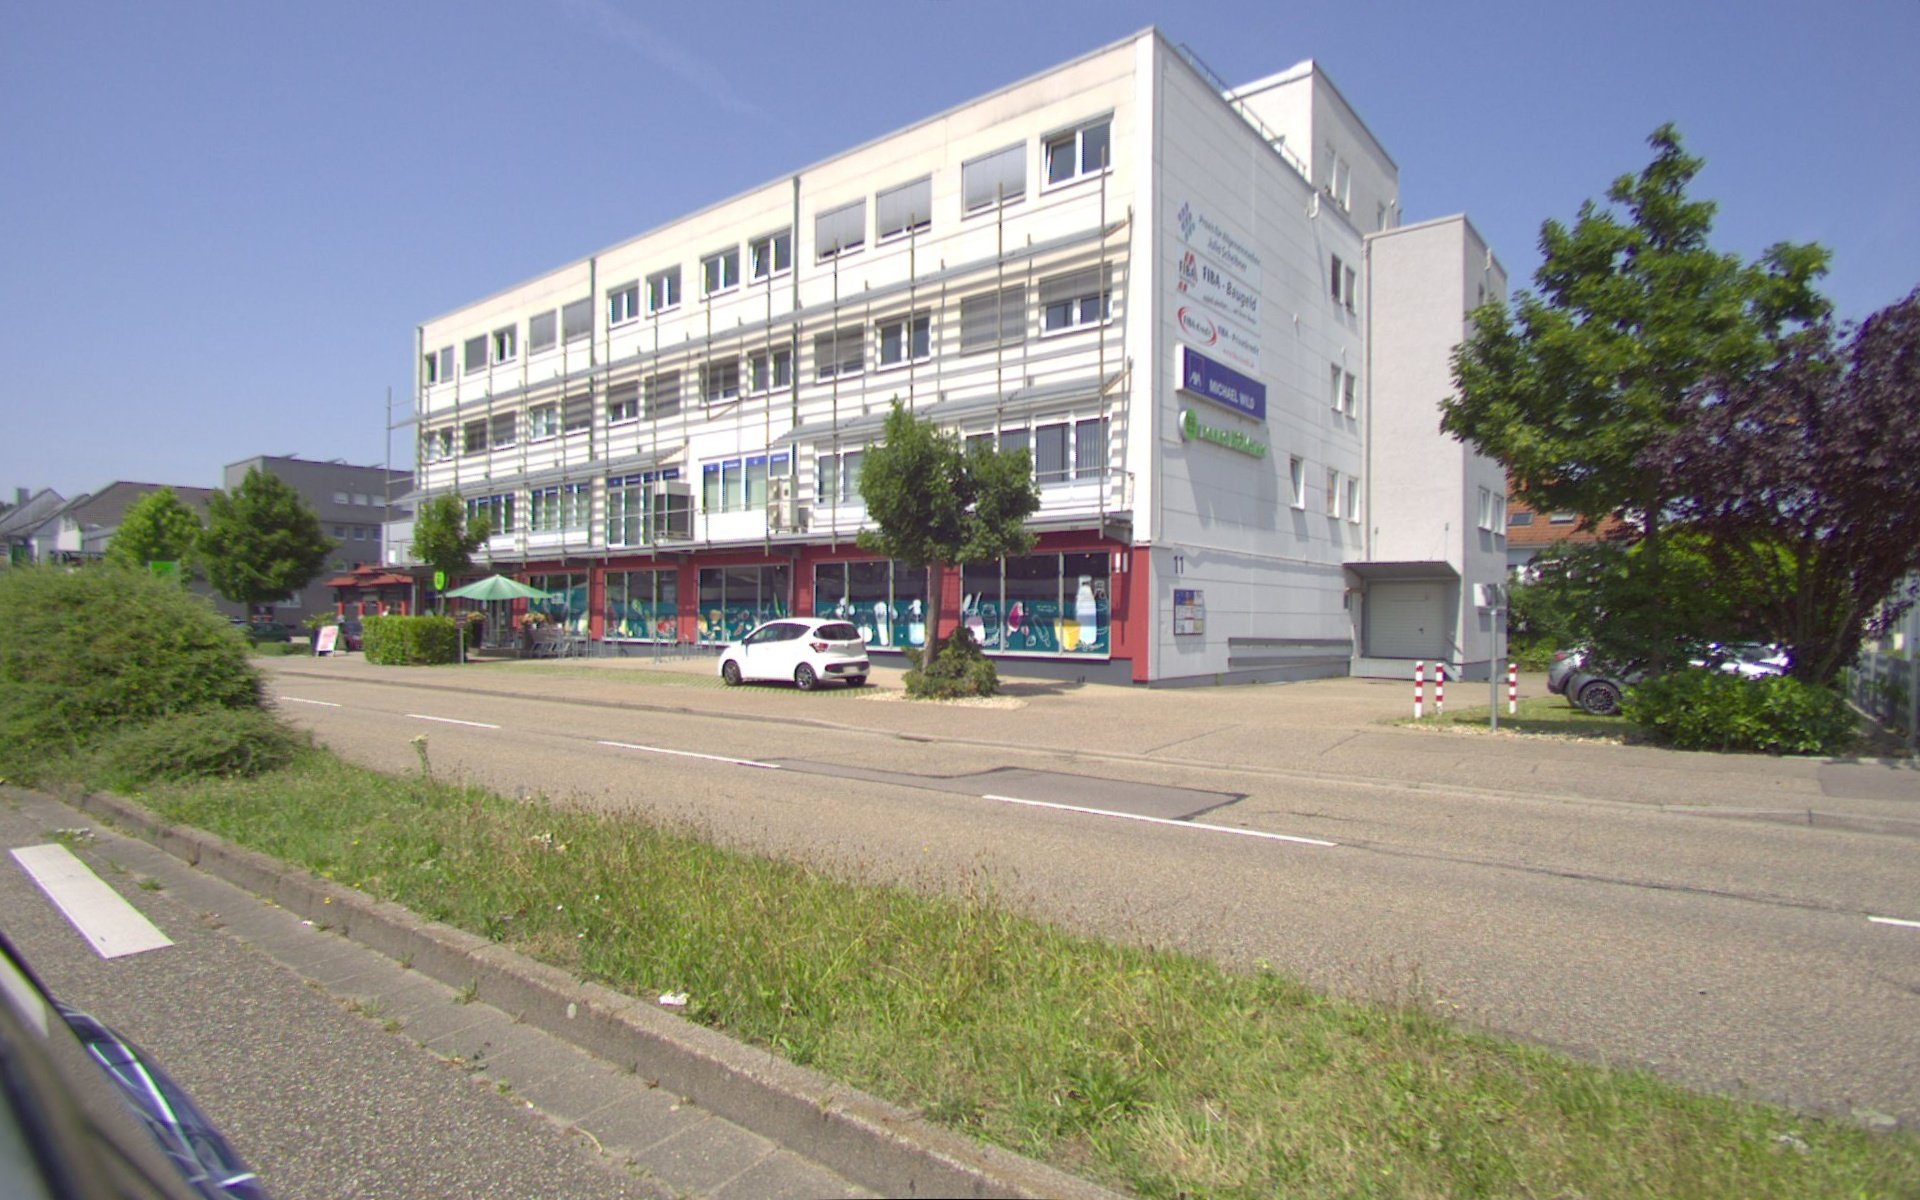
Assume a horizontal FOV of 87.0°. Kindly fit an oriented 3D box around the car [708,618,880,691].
[{"bbox_3d":[-3.678,1.144,22.198,3.660,1.460,1.675,-1,-1,38],"label":"car"}]

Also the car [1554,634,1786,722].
[{"bbox_3d":[13.740,1.431,19.685,3.554,1.530,1.537,-1,-2,41],"label":"car"}]

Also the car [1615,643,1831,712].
[{"bbox_3d":[17.510,1.714,23.305,3.832,1.394,1.900,-1,-2,42],"label":"car"}]

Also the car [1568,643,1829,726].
[{"bbox_3d":[12.817,1.398,17.663,3.554,1.241,1.537,-1,-2,41],"label":"car"}]
